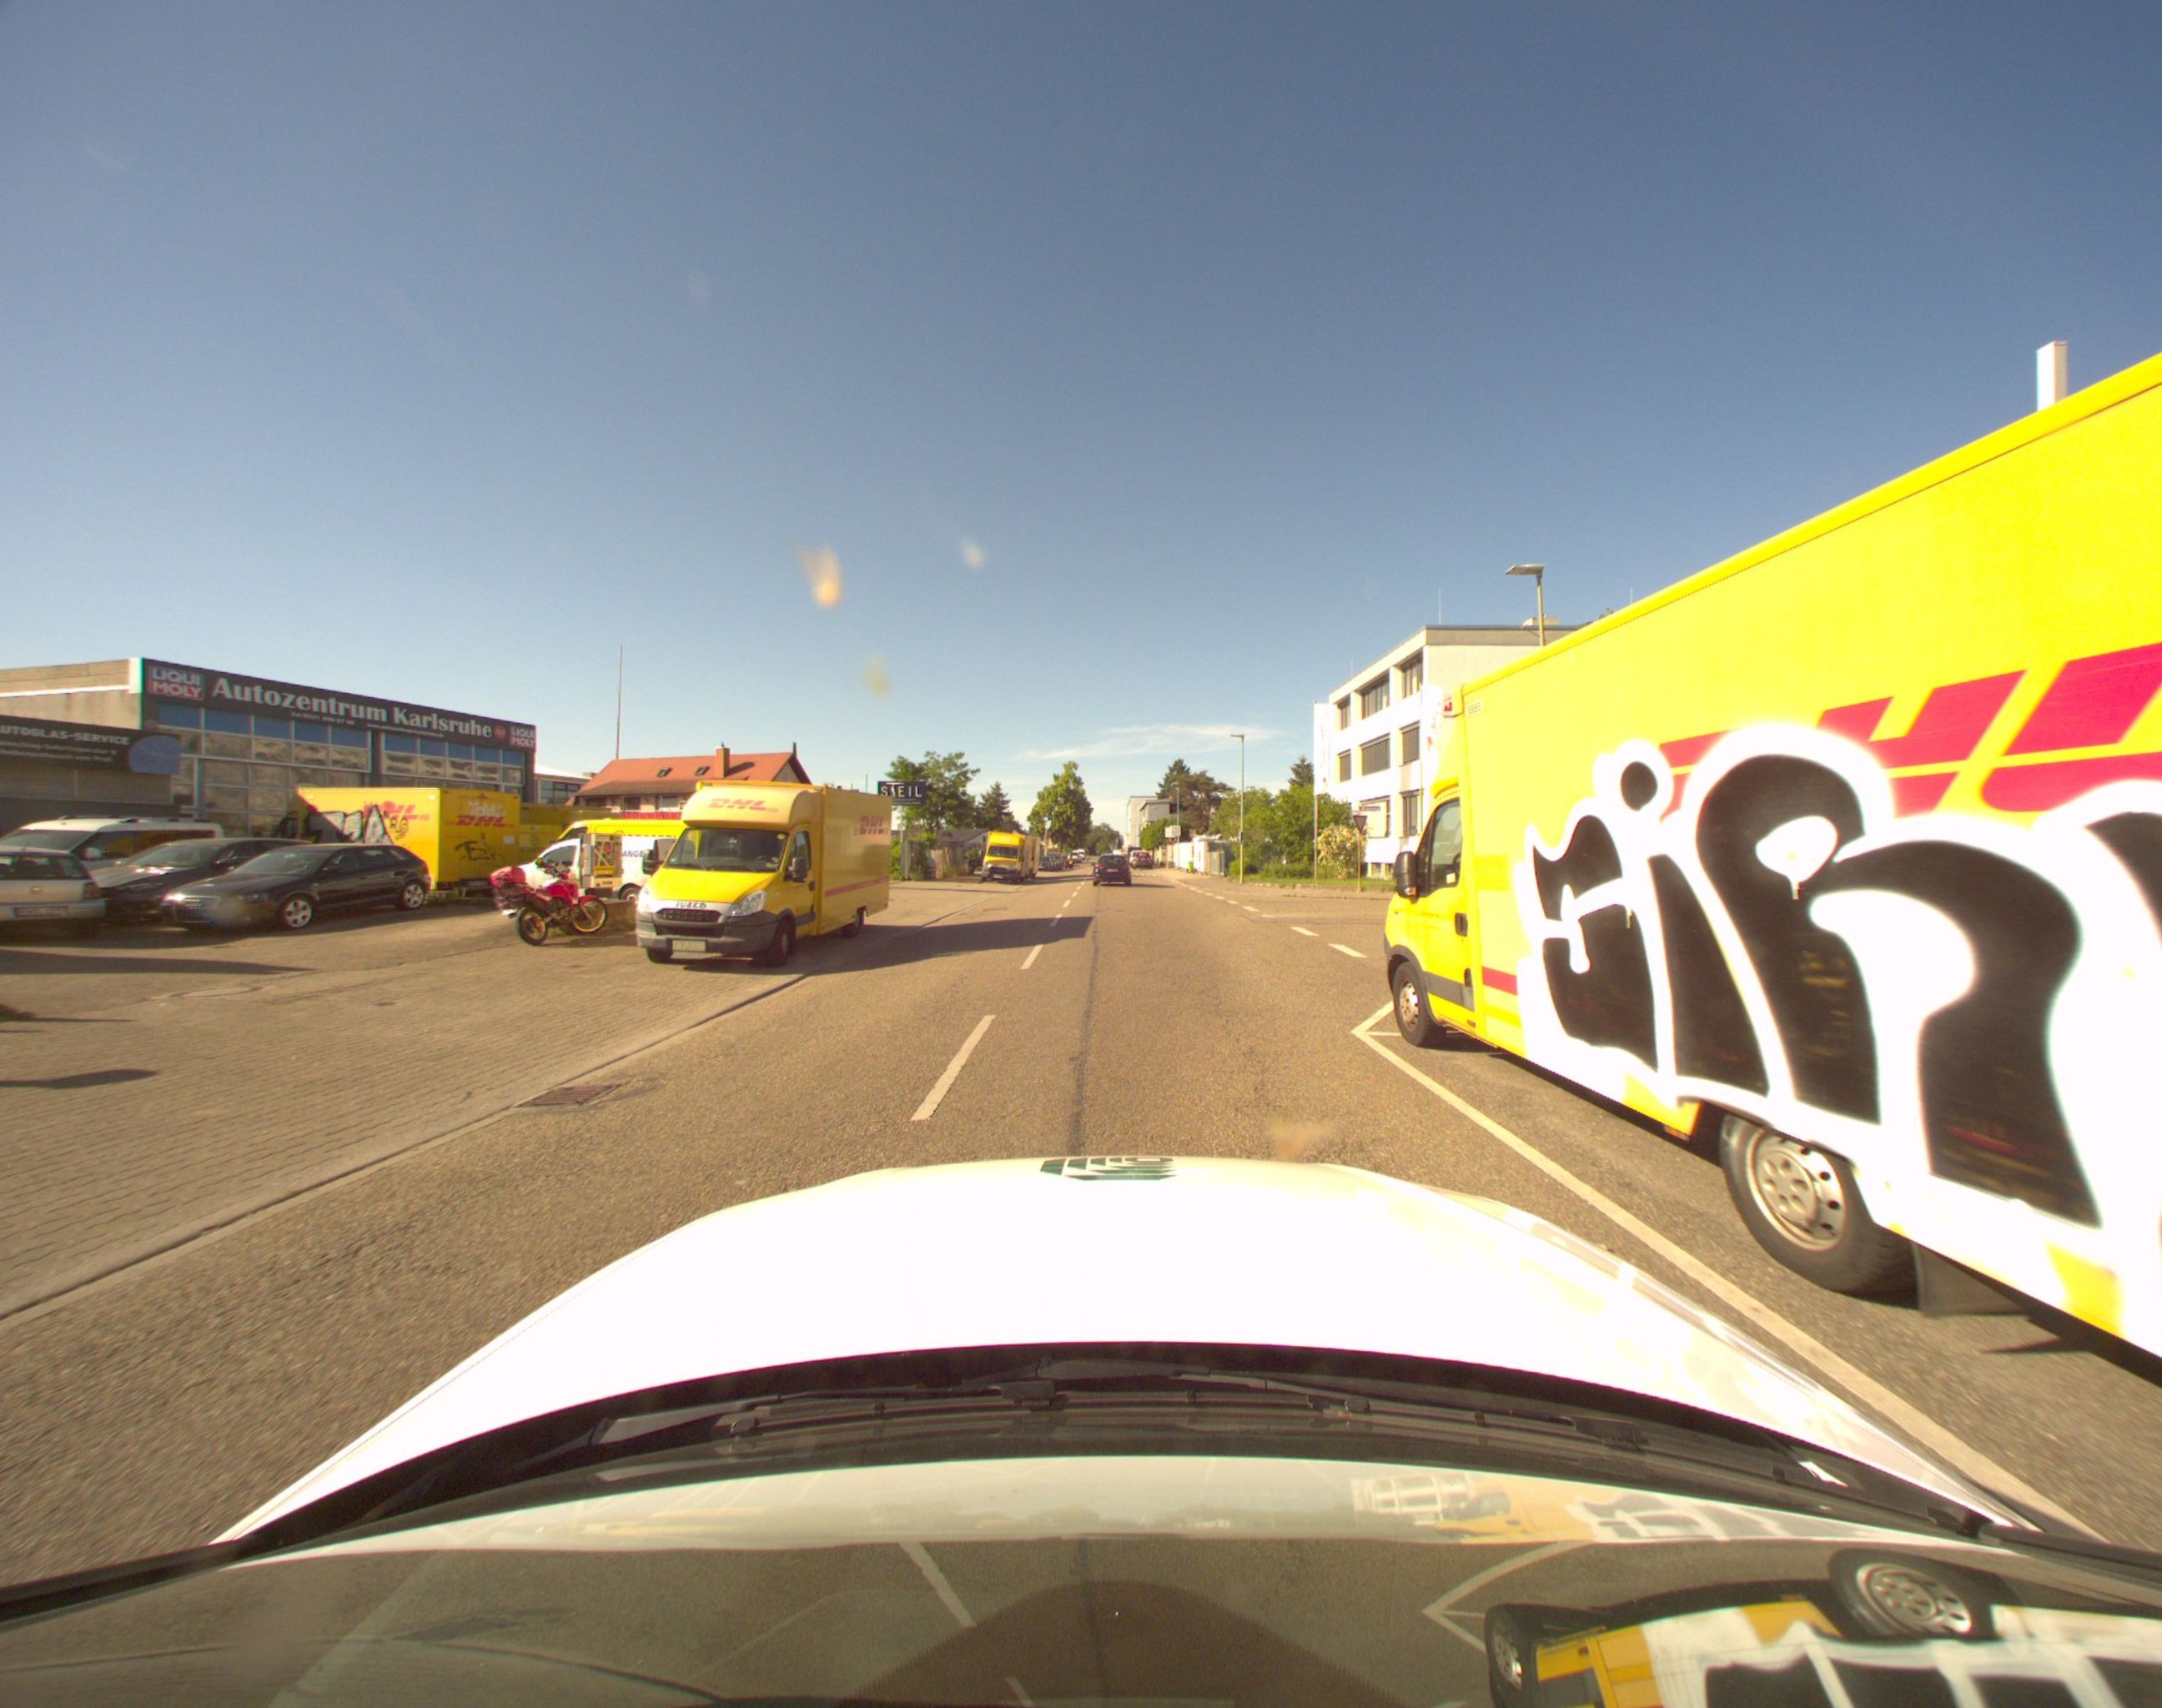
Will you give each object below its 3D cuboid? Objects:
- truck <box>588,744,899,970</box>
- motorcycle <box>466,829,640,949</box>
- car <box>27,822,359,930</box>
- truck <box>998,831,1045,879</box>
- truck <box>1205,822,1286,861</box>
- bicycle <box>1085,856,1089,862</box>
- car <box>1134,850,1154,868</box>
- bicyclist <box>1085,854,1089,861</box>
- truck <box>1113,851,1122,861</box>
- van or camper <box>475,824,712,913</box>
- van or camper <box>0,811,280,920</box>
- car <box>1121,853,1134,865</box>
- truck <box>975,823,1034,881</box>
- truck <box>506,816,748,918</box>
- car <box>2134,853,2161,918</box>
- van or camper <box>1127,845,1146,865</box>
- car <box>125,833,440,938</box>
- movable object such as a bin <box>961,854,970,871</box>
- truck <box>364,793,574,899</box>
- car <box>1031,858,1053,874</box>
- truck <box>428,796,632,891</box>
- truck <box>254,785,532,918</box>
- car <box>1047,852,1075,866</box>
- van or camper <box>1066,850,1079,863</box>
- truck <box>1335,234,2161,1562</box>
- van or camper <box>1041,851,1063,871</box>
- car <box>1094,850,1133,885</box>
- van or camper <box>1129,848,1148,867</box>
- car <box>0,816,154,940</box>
[{"bbox_3d":[-5.363,0.050,14.615,2.394,2.983,7.245,2,0,1],"label":"truck"},{"bbox_3d":[-9.197,0.535,14.424,0.777,1.873,3.046,3,1,6],"label":"motorcycle"},{"bbox_3d":[-17.178,0.396,16.124,1.984,1.816,4.004,1,0,4],"label":"car"},{"bbox_3d":[-3.828,0.070,53.278,2.184,2.902,6.443,2,0,3],"label":"truck"},{"bbox_3d":[16.120,-1.194,80.157,7.356,3.771,2.830,0,0,-3],"label":"truck"},{"bbox_3d":[1.256,0.983,170.385,0.826,1.153,2.940,0,0,0],"label":"bicycle"},{"bbox_3d":[6.481,0.521,84.181,1.912,1.825,4.081,0,0,2],"label":"car"},{"bbox_3d":[1.224,0.669,170.400,0.693,1.539,0.635,0,0,-1],"label":"bicyclist"},{"bbox_3d":[8.567,0.432,189.337,1.986,2.287,6.958,0,0,2],"label":"truck"},{"bbox_3d":[-11.798,0.334,19.899,4.518,2.013,2.256,0,0,8],"label":"van or camper"},{"bbox_3d":[-20.082,0.218,17.463,1.856,2.013,3.996,2,0,-3],"label":"van or camper"},{"bbox_3d":[7.012,0.743,122.677,1.912,1.825,4.081,0,0,2],"label":"car"},{"bbox_3d":[-4.229,-0.084,46.254,2.393,2.983,6.376,2,0,2],"label":"truck"},{"bbox_3d":[-12.715,0.311,22.907,5.881,2.567,2.231,1,0,13],"label":"truck"},{"bbox_3d":[24.835,0.616,16.270,1.708,1.438,4.634,0,-3,3],"label":"car"},{"bbox_3d":[6.469,0.103,95.094,1.986,2.310,4.002,0,0,2],"label":"van or camper"},{"bbox_3d":[-14.707,0.460,15.433,1.861,1.562,4.209,0,4,-3],"label":"car"},{"bbox_3d":[-9.358,0.699,66.006,0.583,1.340,0.550,0,0,1],"label":"movable object such as a bin"},{"bbox_3d":[-18.347,-0.217,24.485,5.296,2.972,2.181,0,0,14],"label":"truck"},{"bbox_3d":[-3.559,1.107,74.708,1.751,1.403,4.557,0,0,0],"label":"car"},{"bbox_3d":[-18.503,-0.316,27.398,6.048,2.972,2.181,0,0,14],"label":"truck"},{"bbox_3d":[-17.760,-0.108,21.160,5.630,3.119,2.532,2,0,12],"label":"truck"},{"bbox_3d":[-2.245,0.563,90.841,1.884,1.485,4.014,-2,1,-22],"label":"car"},{"bbox_3d":[-1.693,0.447,156.169,2.317,2.362,6.523,0,0,-2],"label":"van or camper"},{"bbox_3d":[3.660,0.096,4.507,2.394,2.936,7.018,-2,0,2],"label":"truck"},{"bbox_3d":[-3.002,0.739,84.510,1.883,1.926,4.269,-1,-1,3],"label":"van or camper"},{"bbox_3d":[1.543,0.611,38.064,1.705,1.532,3.690,-1,0,3],"label":"car"},{"bbox_3d":[6.357,0.349,89.977,1.912,2.019,4.081,0,0,2],"label":"van or camper"},{"bbox_3d":[-17.725,0.357,12.966,3.965,1.816,2.004,0,0,7],"label":"car"}]
